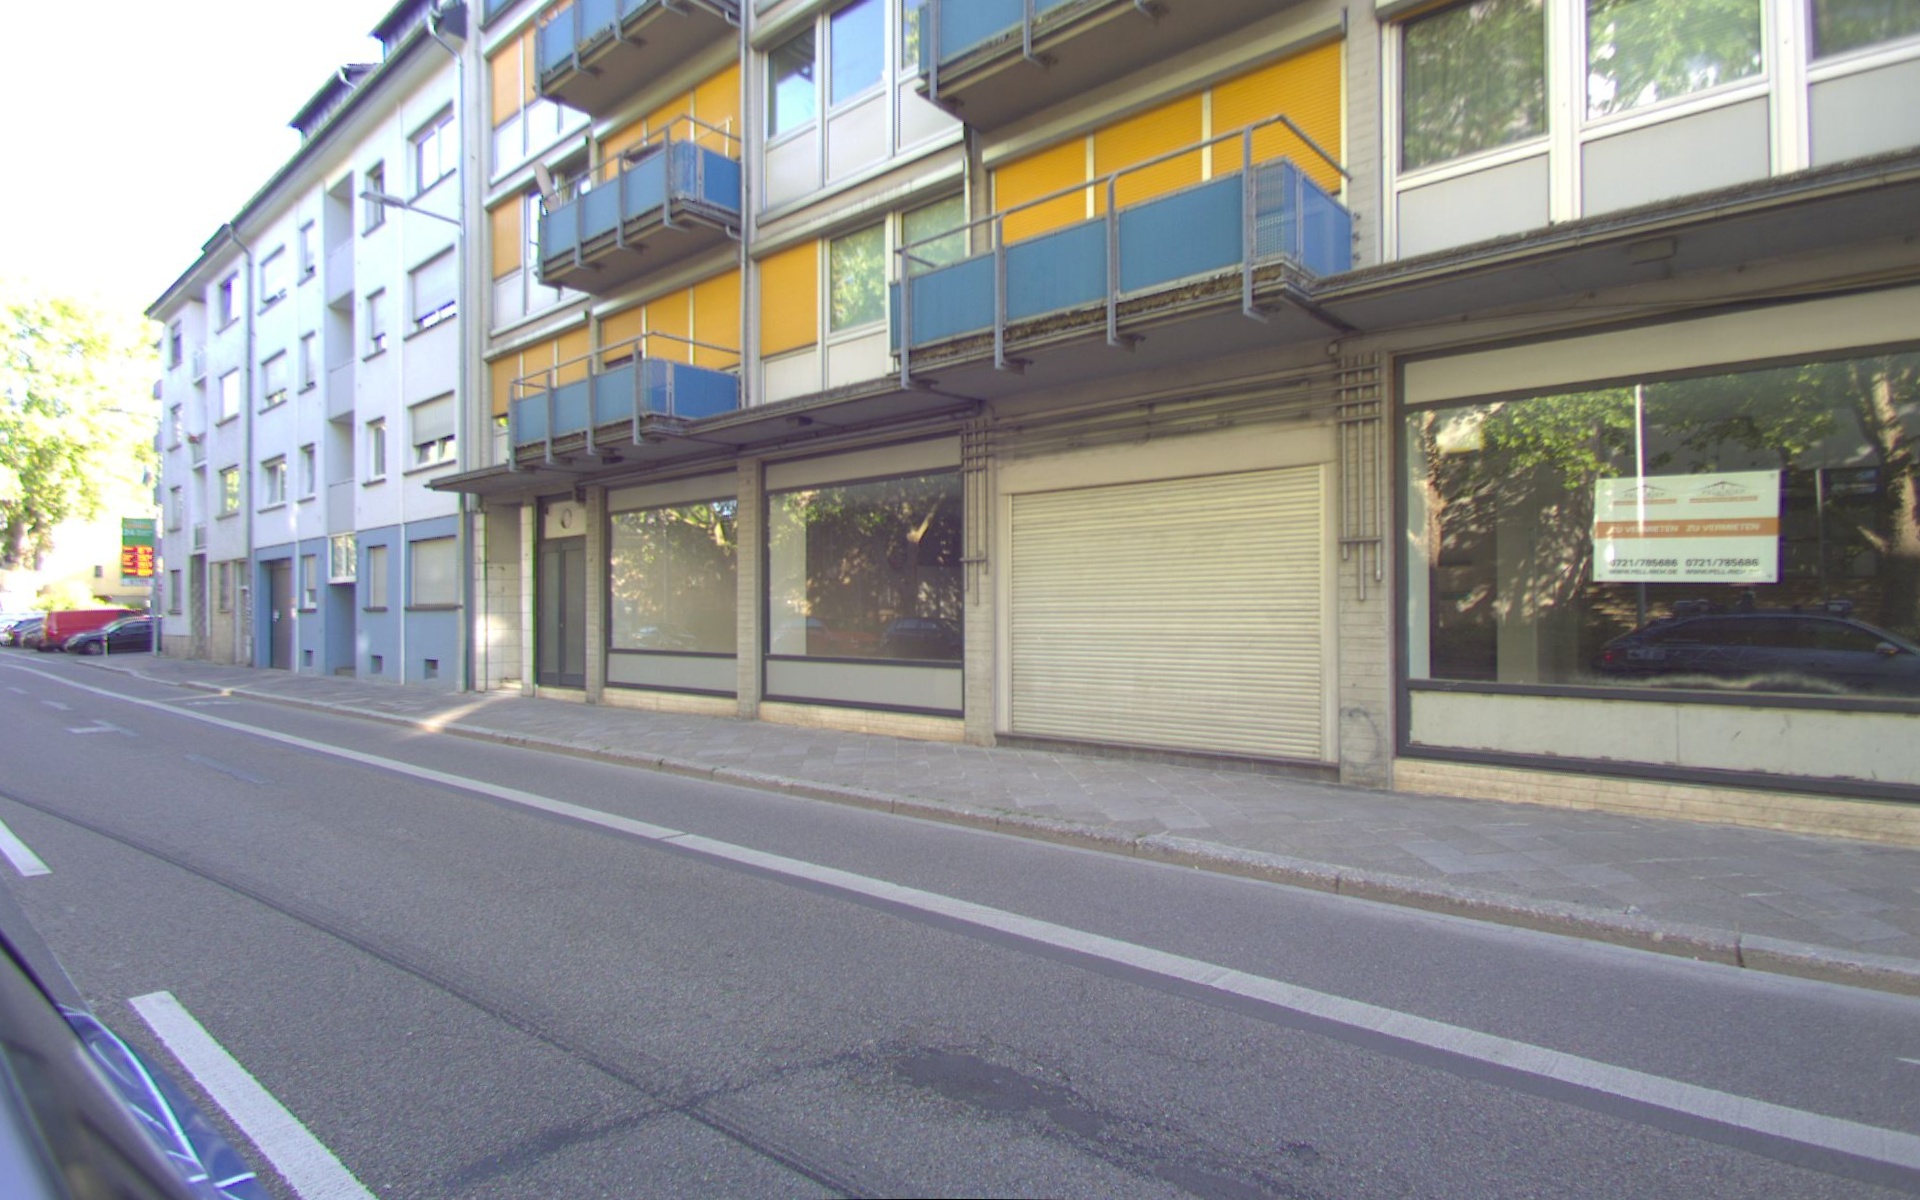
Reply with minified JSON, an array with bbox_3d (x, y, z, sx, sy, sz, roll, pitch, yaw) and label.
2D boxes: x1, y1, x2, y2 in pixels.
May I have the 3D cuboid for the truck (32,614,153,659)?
[{"bbox_3d":[-40.712,1.658,47.560,1.999,1.939,4.040,-1,0,40],"label":"truck"}]

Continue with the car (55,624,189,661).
[{"bbox_3d":[-36.485,1.803,44.145,1.657,1.417,4.269,-1,0,40],"label":"car"}]

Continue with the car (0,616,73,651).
[{"bbox_3d":[-59.333,2.105,64.388,2.000,2.052,4.180,-1,0,43],"label":"car"}]

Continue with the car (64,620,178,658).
[{"bbox_3d":[-38.035,1.740,45.928,1.657,1.583,3.762,-1,0,41],"label":"car"}]

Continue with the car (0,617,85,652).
[{"bbox_3d":[-56.049,2.076,61.458,2.000,1.971,4.180,-1,0,43],"label":"car"}]
